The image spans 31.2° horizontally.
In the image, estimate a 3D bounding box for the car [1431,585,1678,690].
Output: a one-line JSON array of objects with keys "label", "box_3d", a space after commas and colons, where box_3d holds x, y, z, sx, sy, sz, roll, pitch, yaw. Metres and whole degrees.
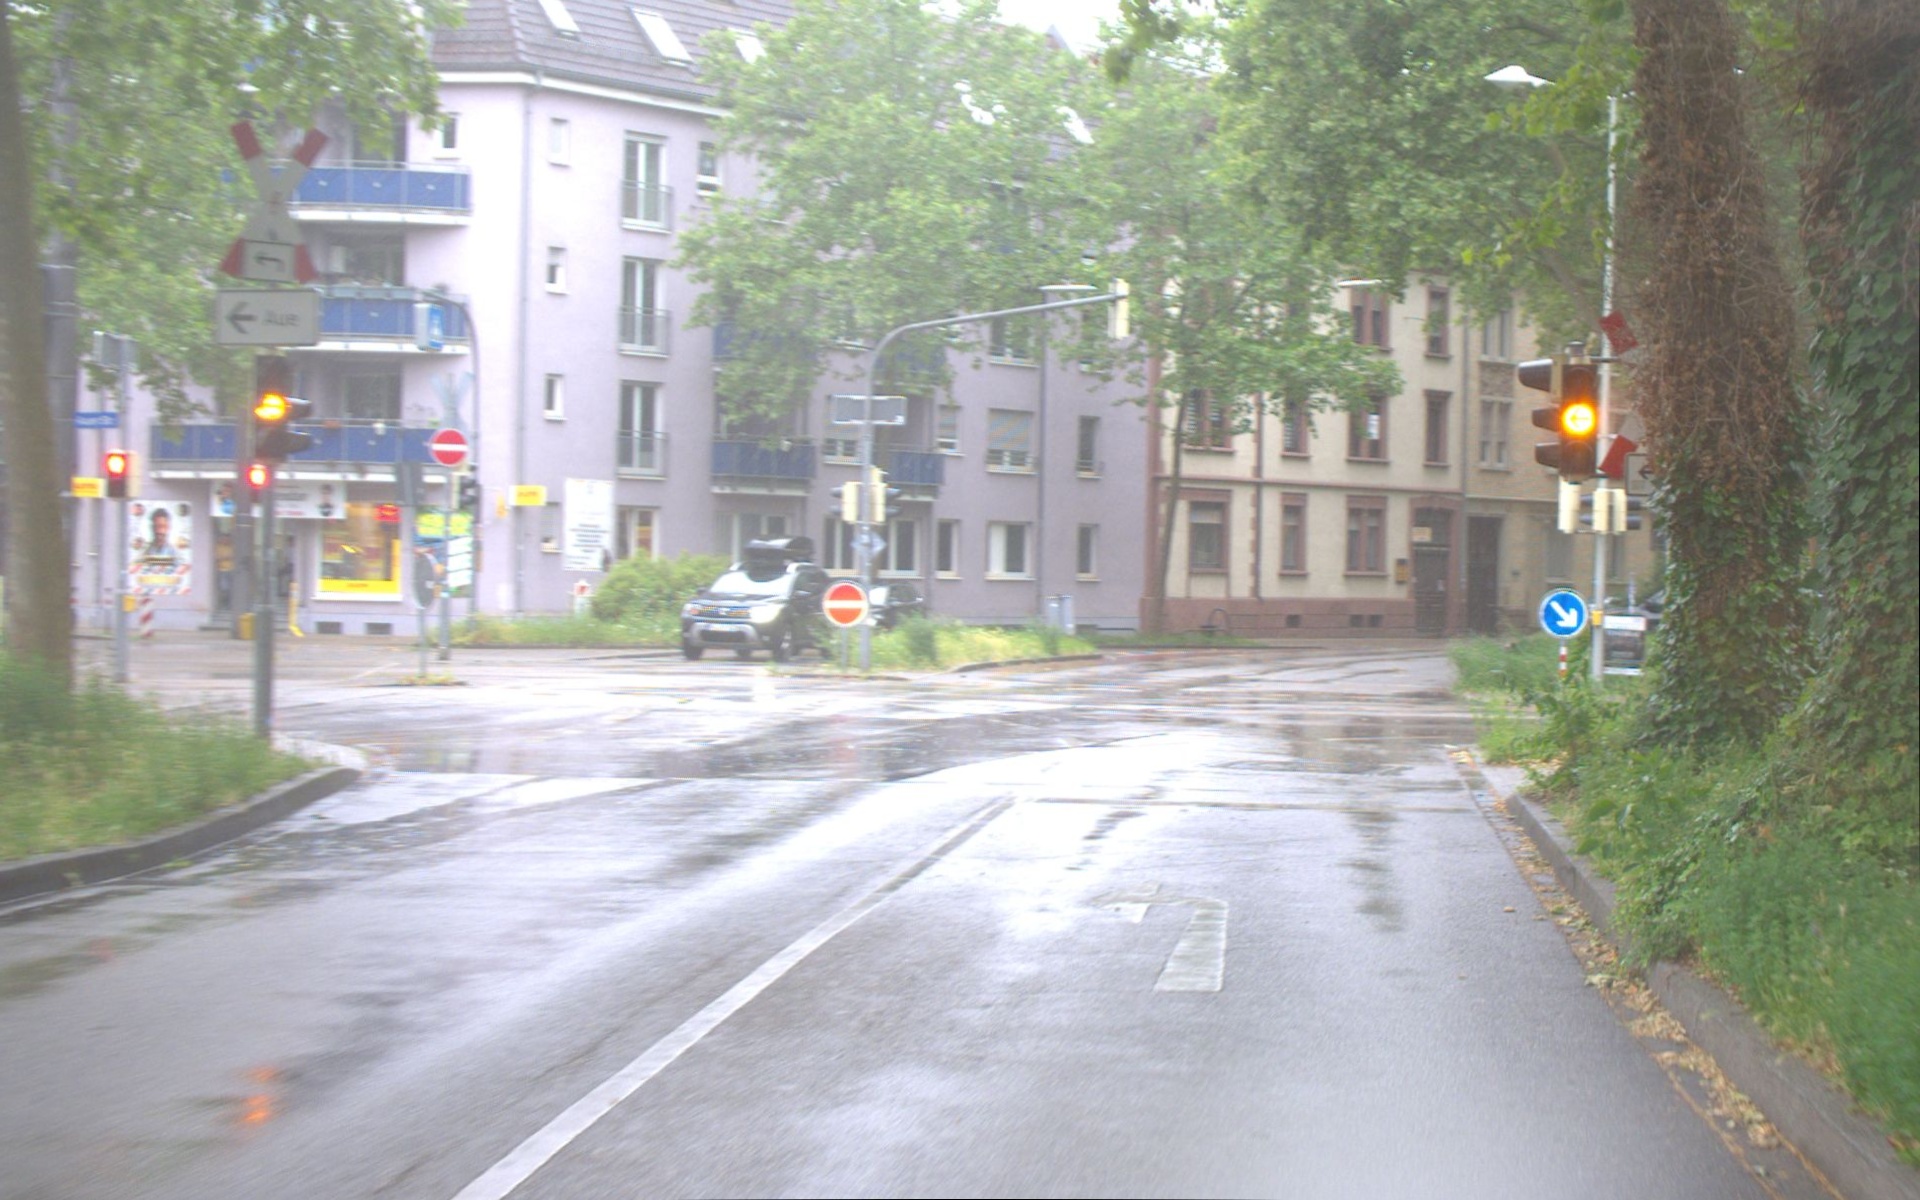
[{"label": "car", "box_3d": [8.842, 0.556, 51.103, 3.481, 1.518, 1.519, 0, 0, 15]}]

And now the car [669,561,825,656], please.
[{"label": "car", "box_3d": [-3.573, 0.120, 58.313, 1.726, 1.547, 3.558, 0, 0, 12]}]

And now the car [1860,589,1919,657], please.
[{"label": "car", "box_3d": [23.563, 0.540, 82.126, 3.613, 1.612, 1.678, 0, 1, 35]}]
